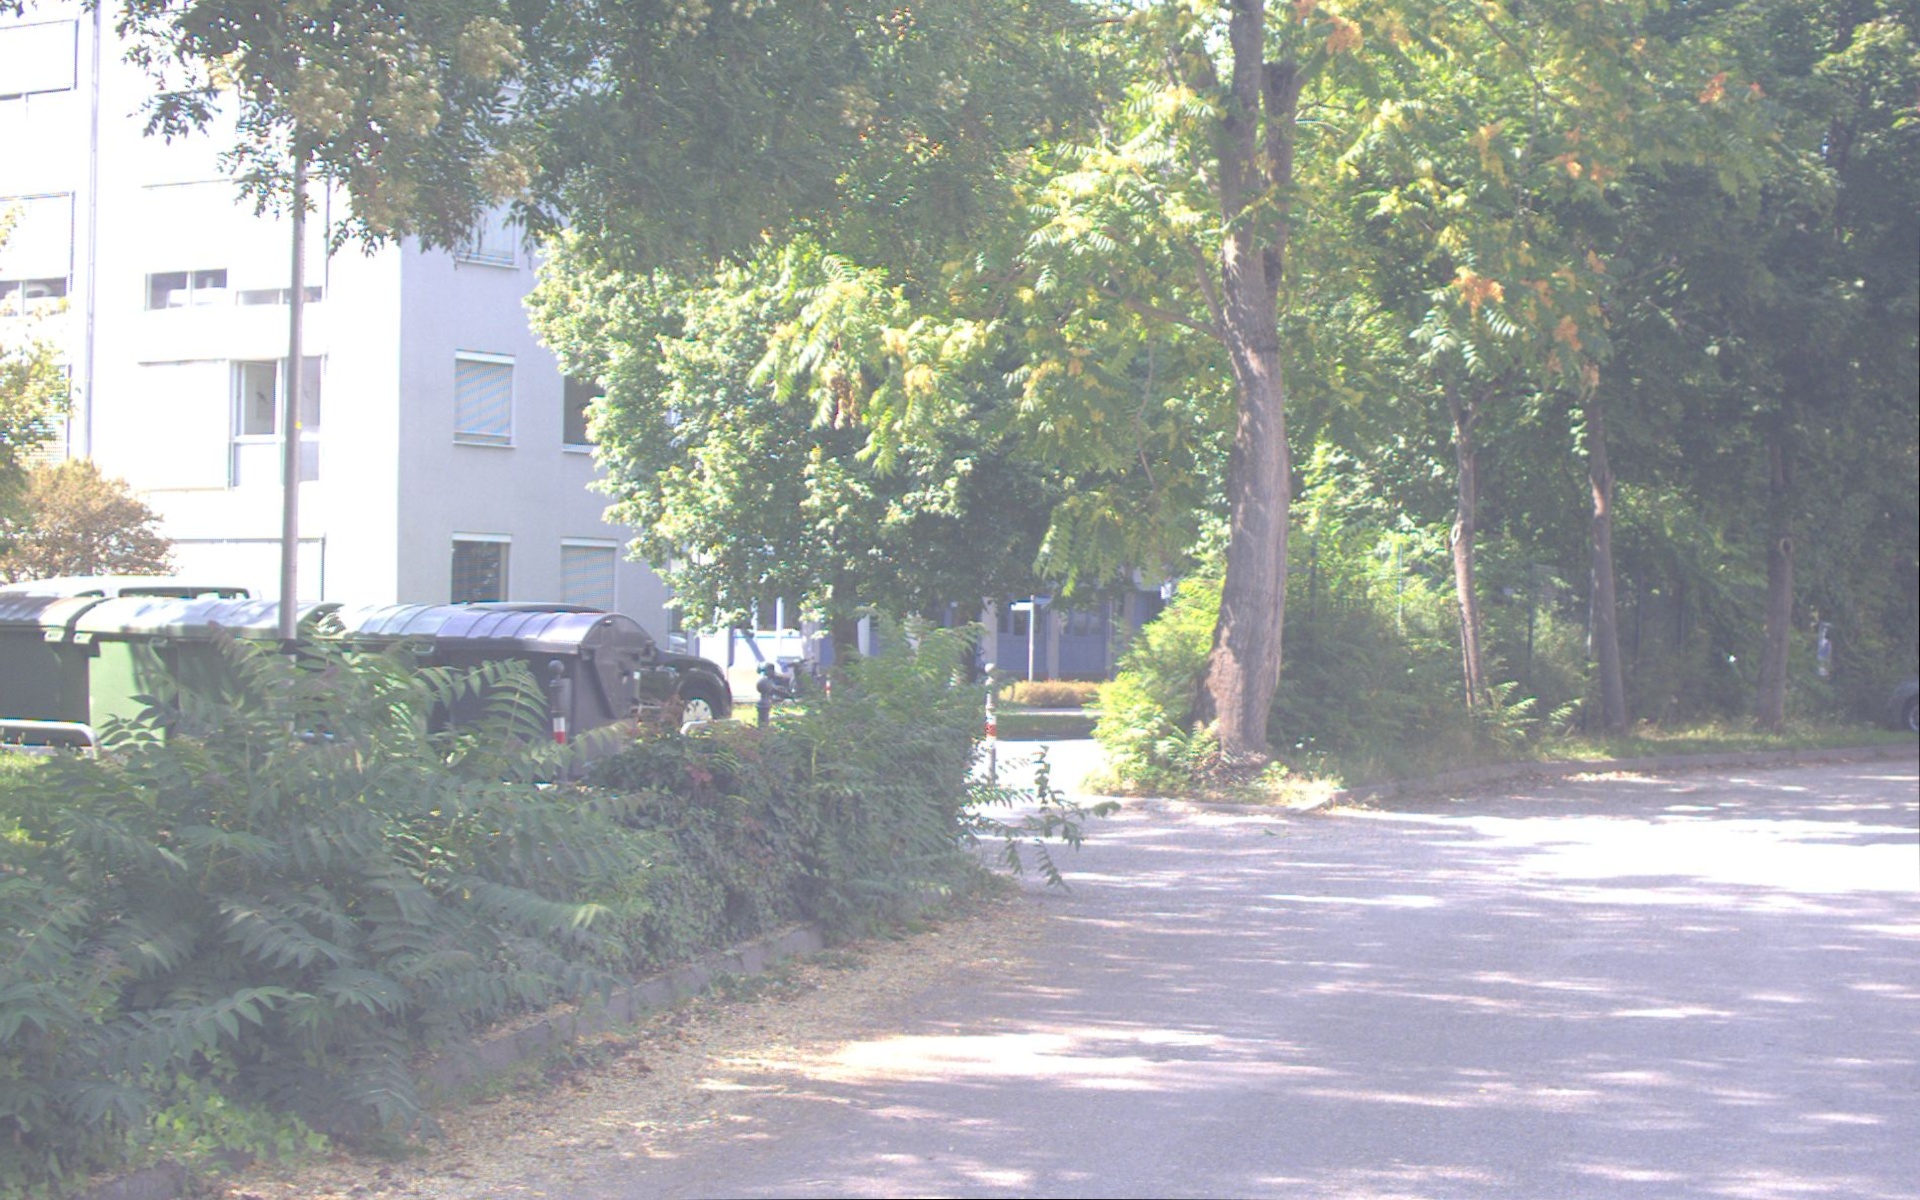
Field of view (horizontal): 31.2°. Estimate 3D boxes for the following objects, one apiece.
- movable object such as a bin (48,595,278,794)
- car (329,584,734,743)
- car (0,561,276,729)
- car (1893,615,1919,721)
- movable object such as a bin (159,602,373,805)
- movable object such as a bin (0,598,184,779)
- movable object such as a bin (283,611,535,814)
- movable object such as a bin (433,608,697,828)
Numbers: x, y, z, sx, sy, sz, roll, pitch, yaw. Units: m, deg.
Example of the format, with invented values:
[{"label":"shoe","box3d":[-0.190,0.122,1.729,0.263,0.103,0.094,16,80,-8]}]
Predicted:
[{"label":"movable object such as a bin","box3d":[-6.287,0.732,27.146,1.205,1.490,1.247,1,0,31]},{"label":"car","box3d":[-4.337,0.640,35.178,1.706,1.523,3.902,0,-1,43]},{"label":"car","box3d":[-10.806,0.511,40.105,2.500,1.875,5.072,1,0,40]},{"label":"car","box3d":[16.493,1.084,51.948,4.157,1.607,1.995,1,0,38]},{"label":"movable object such as a bin","box3d":[-5.270,0.771,26.120,1.100,1.477,1.099,1,0,31]},{"label":"movable object such as a bin","box3d":[-7.361,0.724,28.581,1.205,1.439,1.247,1,0,31]},{"label":"movable object such as a bin","box3d":[-4.103,0.822,25.656,1.330,1.427,1.247,1,0,31]},{"label":"movable object such as a bin","box3d":[-2.822,0.827,24.707,1.370,1.488,1.334,2,0,23]}]
